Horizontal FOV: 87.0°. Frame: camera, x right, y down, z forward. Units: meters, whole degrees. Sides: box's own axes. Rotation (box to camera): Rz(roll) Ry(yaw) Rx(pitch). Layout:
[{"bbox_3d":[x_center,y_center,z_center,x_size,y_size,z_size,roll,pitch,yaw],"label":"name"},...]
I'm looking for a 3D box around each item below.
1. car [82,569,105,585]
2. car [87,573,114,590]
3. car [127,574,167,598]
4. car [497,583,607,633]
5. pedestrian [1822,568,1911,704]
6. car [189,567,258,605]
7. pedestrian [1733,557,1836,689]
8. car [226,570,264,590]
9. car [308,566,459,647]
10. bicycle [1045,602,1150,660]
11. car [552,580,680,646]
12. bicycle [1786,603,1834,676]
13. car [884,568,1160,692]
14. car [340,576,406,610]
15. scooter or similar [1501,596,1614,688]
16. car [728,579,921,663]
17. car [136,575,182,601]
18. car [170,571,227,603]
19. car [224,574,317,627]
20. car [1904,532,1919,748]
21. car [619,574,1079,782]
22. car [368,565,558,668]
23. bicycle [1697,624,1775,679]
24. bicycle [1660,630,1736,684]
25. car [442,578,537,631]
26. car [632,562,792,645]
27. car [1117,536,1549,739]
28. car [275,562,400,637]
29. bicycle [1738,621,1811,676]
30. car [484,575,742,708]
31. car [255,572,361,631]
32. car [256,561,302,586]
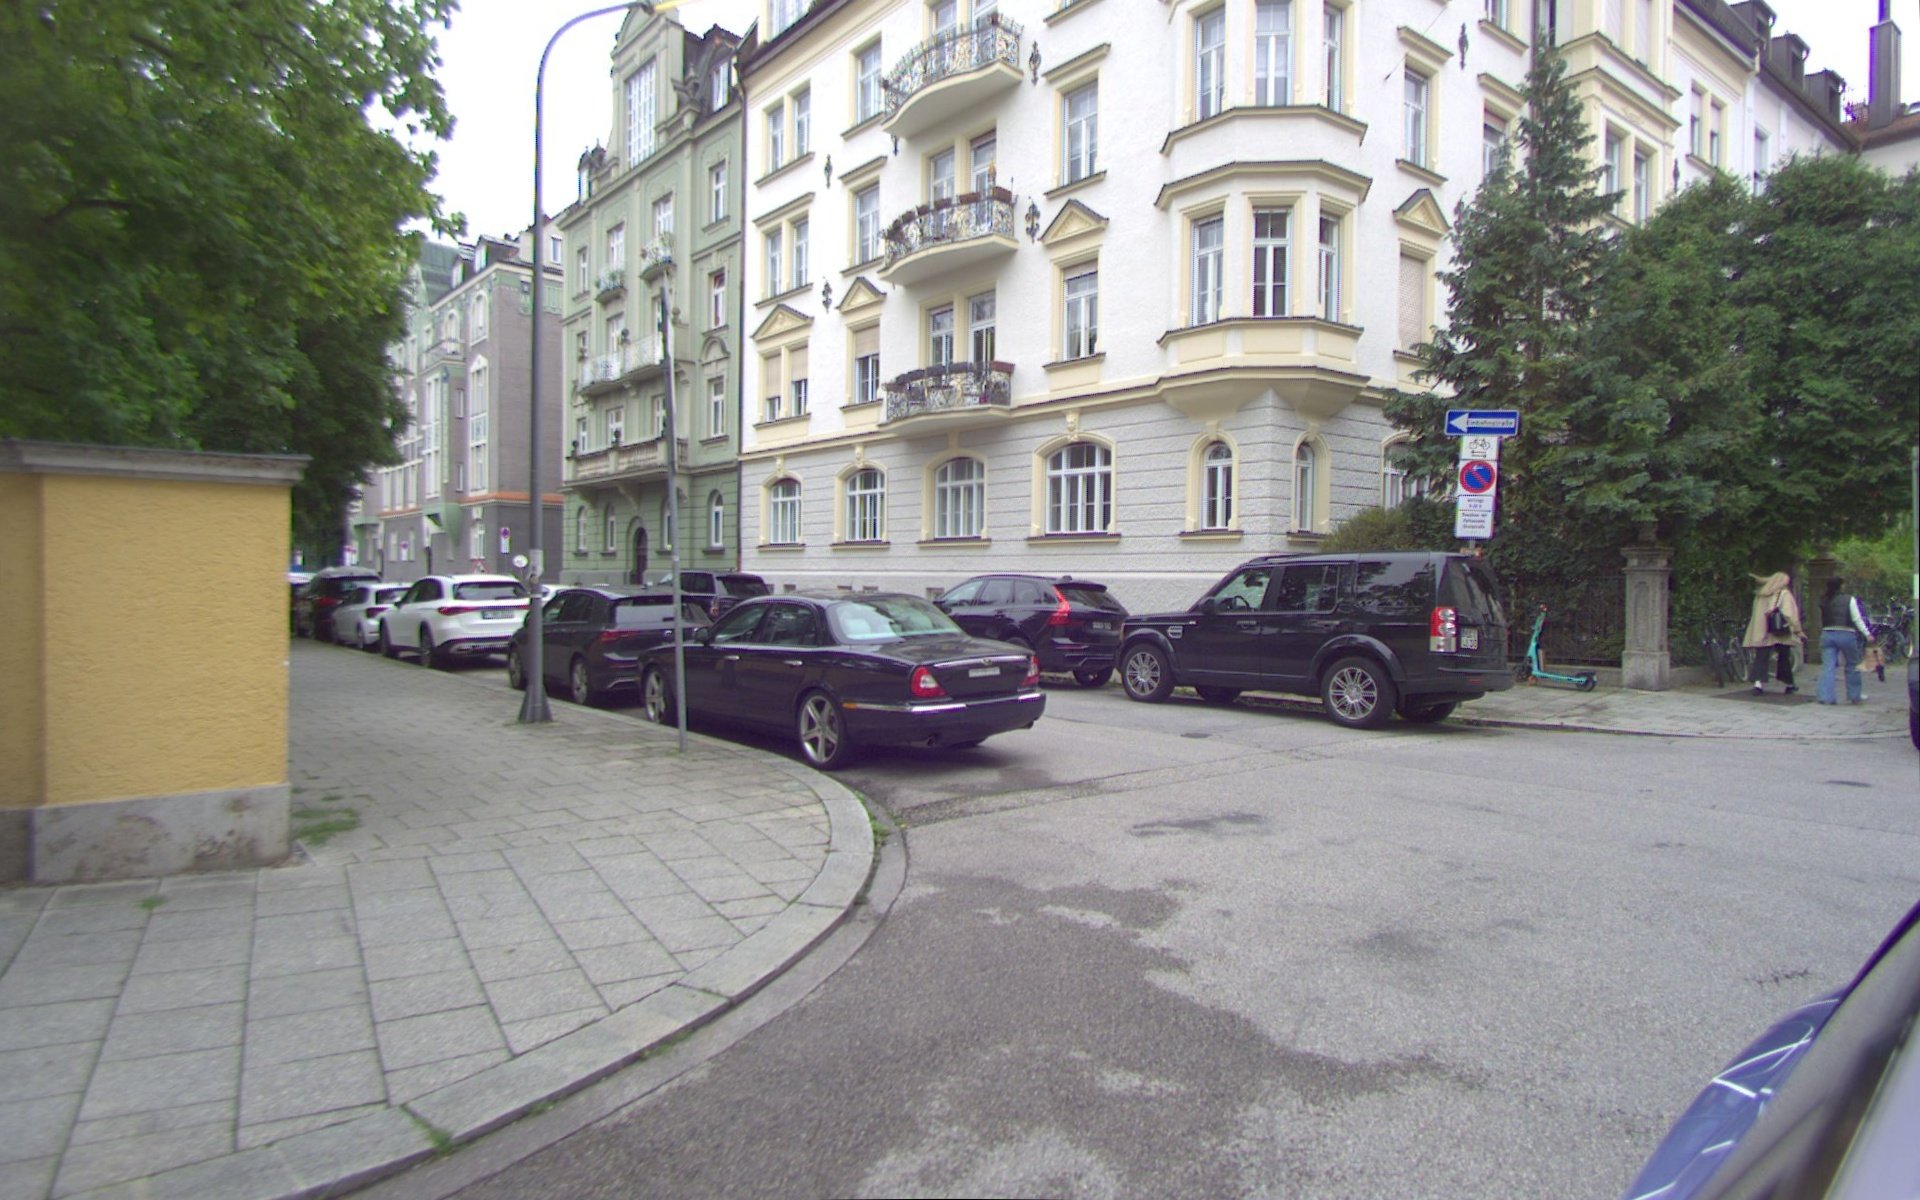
[{"bbox_3d":[-101.546,-2.676,118.625,1.879,1.892,4.598,-1,2,-43],"label":"car"},{"bbox_3d":[-89.168,-1.930,104.992,1.967,1.641,4.598,-1,2,-43],"label":"car"},{"bbox_3d":[-58.969,-1.036,73.355,1.967,1.641,4.598,-1,2,-43],"label":"car"},{"bbox_3d":[-12.805,0.227,31.651,1.929,1.424,4.245,2,0,-40],"label":"car"},{"bbox_3d":[11.453,0.427,12.791,0.696,1.648,0.689,-1,2,-38],"label":"pedestrian"},{"bbox_3d":[-33.112,-0.649,45.440,1.967,1.641,4.598,-1,2,-43],"label":"car"},{"bbox_3d":[11.164,0.299,13.727,0.722,1.723,0.697,1,3,-5],"label":"pedestrian"},{"bbox_3d":[-58.901,-1.649,83.393,1.967,1.641,4.598,-1,2,-43],"label":"car"},{"bbox_3d":[-13.046,0.073,22.787,1.967,1.641,4.598,-1,2,-43],"label":"car"},{"bbox_3d":[2.794,0.612,20.836,0.529,1.119,2.409,0,0,-41],"label":"bicycle"},{"bbox_3d":[-9.663,0.321,28.265,1.929,1.670,4.245,2,0,-40],"label":"car"},{"bbox_3d":[13.767,0.620,16.415,0.511,1.108,1.336,1,1,37],"label":"bicycle"},{"bbox_3d":[0.845,0.383,15.952,1.929,1.670,4.245,2,0,-40],"label":"car"},{"bbox_3d":[-29.901,-0.407,51.491,1.967,1.641,4.598,-1,2,-43],"label":"car"},{"bbox_3d":[8.414,0.561,14.299,0.364,1.204,1.353,-1,2,-31],"label":"scooter or similar"},{"bbox_3d":[-2.822,0.364,20.386,1.929,1.459,4.107,2,0,-40],"label":"car"},{"bbox_3d":[-52.119,-0.811,65.813,1.967,1.641,4.598,-1,2,-43],"label":"car"},{"bbox_3d":[-40.157,-0.713,53.319,1.967,1.641,4.598,-1,2,-43],"label":"car"},{"bbox_3d":[-23.507,-0.036,34.420,1.967,1.641,4.598,-1,2,-43],"label":"car"},{"bbox_3d":[11.187,0.385,9.889,4.576,1.979,1.957,1,-1,-35],"label":"car"},{"bbox_3d":[-1.327,0.510,9.739,1.834,1.501,4.917,-1,2,-43],"label":"car"},{"bbox_3d":[-9.199,0.204,18.527,1.966,1.641,4.600,-1,2,-42],"label":"car"},{"bbox_3d":[11.543,0.754,15.044,1.328,0.744,0.514,0,1,-34],"label":"bicycle"},{"bbox_3d":[10.447,0.793,14.324,1.101,0.691,0.514,0,1,-34],"label":"bicycle"},{"bbox_3d":[-16.434,0.136,35.229,1.929,1.670,4.245,2,0,-40],"label":"car"},{"bbox_3d":[-5.898,0.046,23.784,1.929,1.776,4.245,2,0,-40],"label":"car"},{"bbox_3d":[4.257,0.327,12.201,1.870,1.975,4.538,2,0,-40],"label":"car"},{"bbox_3d":[-16.276,-0.063,26.365,1.977,1.800,4.374,-1,2,-43],"label":"car"},{"bbox_3d":[12.731,0.742,15.807,1.328,0.791,0.514,0,1,-34],"label":"bicycle"},{"bbox_3d":[-4.910,0.419,13.866,1.888,1.501,4.604,-1,2,-39],"label":"car"},{"bbox_3d":[-19.925,-0.012,30.853,1.967,1.641,4.598,-1,2,-43],"label":"car"},{"bbox_3d":[-47.044,-1.834,69.874,1.967,1.641,4.598,-1,2,-43],"label":"car"}]
